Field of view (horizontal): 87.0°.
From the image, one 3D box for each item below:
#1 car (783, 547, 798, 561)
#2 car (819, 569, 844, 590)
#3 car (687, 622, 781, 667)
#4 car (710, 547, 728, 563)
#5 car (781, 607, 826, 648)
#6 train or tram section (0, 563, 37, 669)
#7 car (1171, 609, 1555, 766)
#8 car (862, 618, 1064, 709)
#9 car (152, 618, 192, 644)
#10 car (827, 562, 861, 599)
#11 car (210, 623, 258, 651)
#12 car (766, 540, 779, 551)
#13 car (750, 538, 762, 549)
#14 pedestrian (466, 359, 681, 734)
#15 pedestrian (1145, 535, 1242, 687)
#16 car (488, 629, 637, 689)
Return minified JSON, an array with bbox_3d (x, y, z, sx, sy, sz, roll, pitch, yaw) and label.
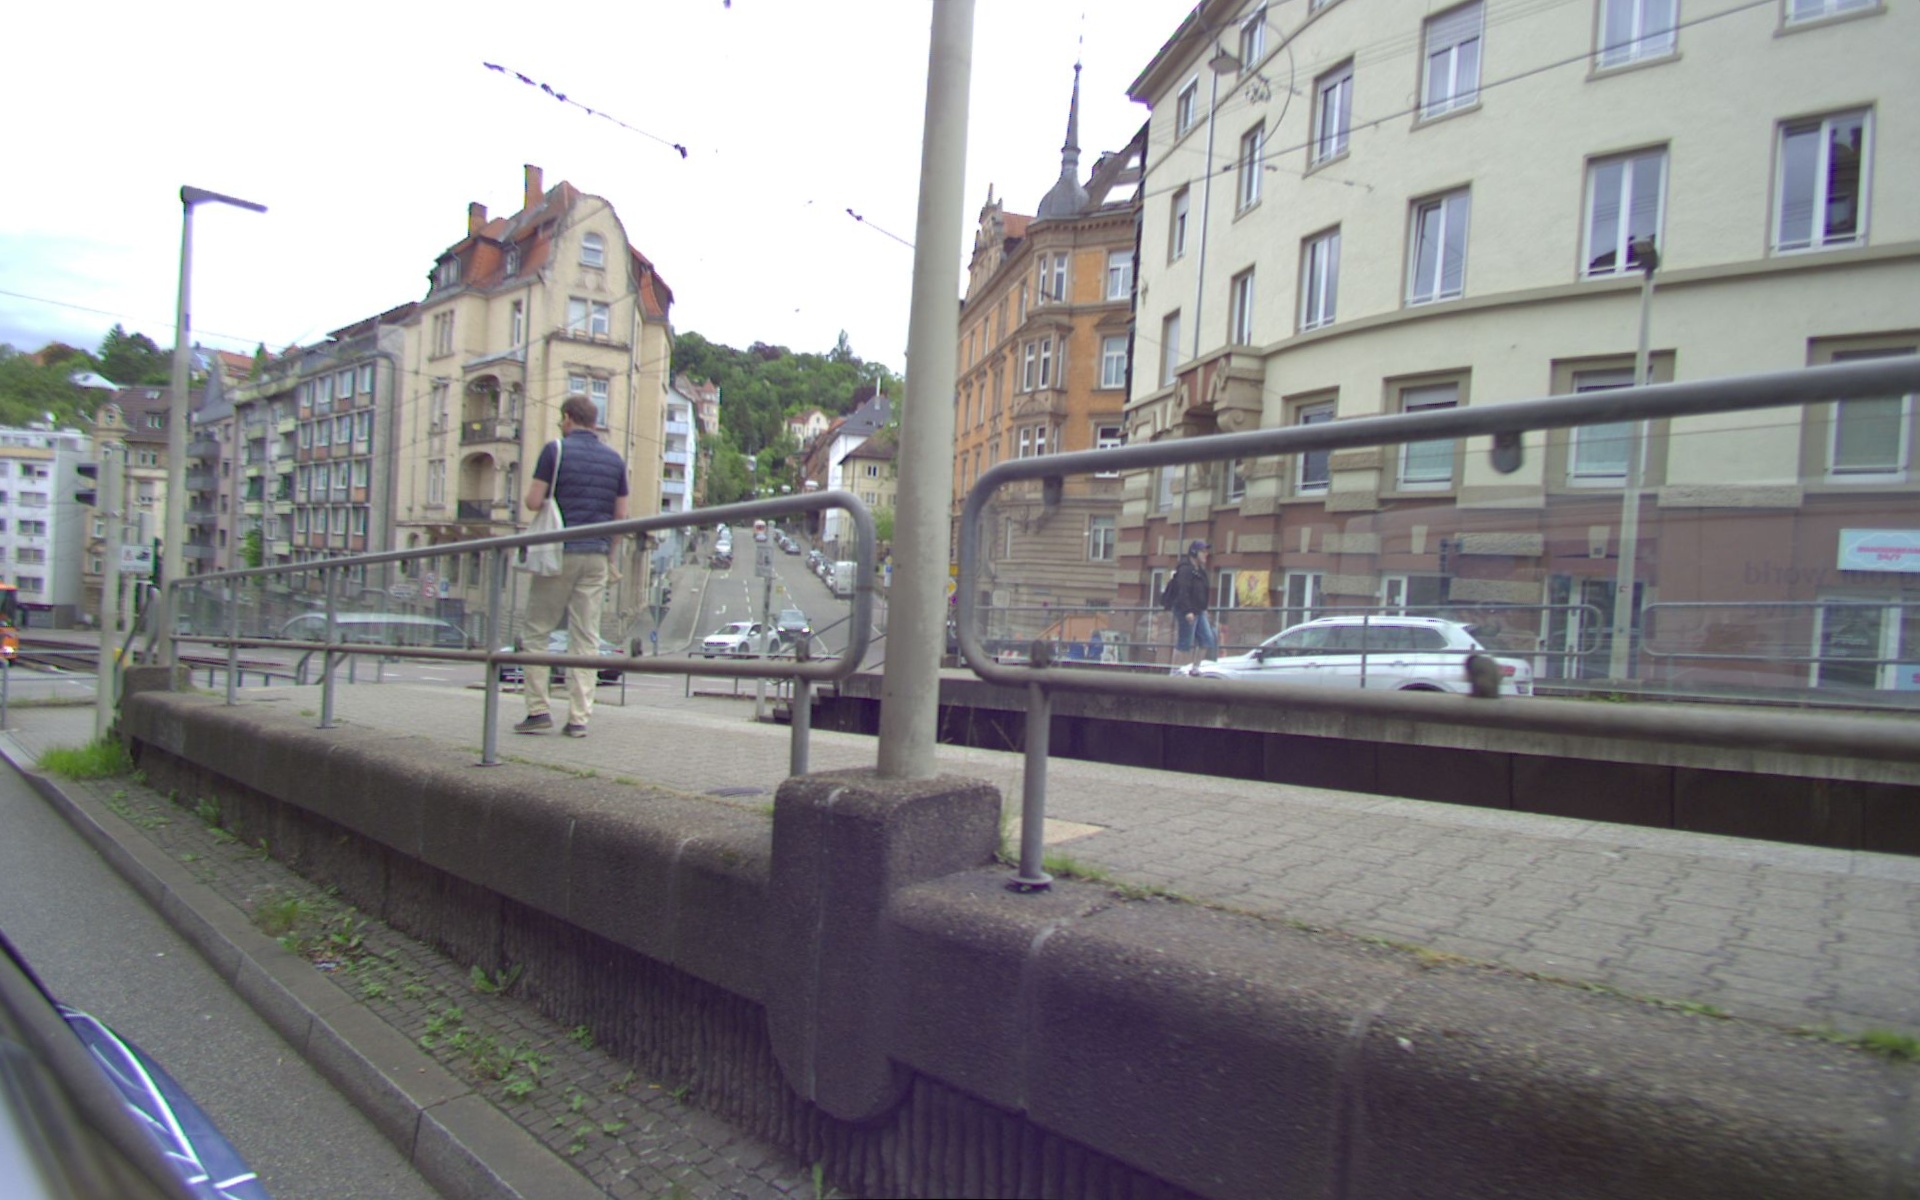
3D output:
[{"bbox_3d":[-20.820,-5.653,124.379,1.619,1.453,3.319,1,5,-14],"label":"car"},{"bbox_3d":[-10.495,-1.712,82.687,1.619,1.442,3.319,1,5,-14],"label":"car"},{"bbox_3d":[-9.198,1.799,41.541,1.984,1.723,3.974,-1,-2,19],"label":"car"},{"bbox_3d":[-27.540,-5.141,115.650,1.911,1.650,4.012,1,5,-14],"label":"car"},{"bbox_3d":[-8.140,1.392,52.353,1.967,1.687,4.012,1,4,-13],"label":"car"},{"bbox_3d":[-37.664,0.635,37.810,14.400,3.503,2.929,-1,-3,41],"label":"train or tram section"},{"bbox_3d":[5.196,1.036,13.426,4.379,1.747,1.826,-1,-2,42],"label":"car"},{"bbox_3d":[-0.023,1.277,21.656,1.824,1.747,4.384,2,-2,-43],"label":"car"},{"bbox_3d":[-62.406,2.422,80.133,4.050,1.989,1.826,-2,-2,43],"label":"car"},{"bbox_3d":[-8.769,-1.498,76.243,1.966,2.495,4.012,1,5,-14],"label":"car"},{"bbox_3d":[-48.087,2.425,66.971,4.382,1.796,1.825,-2,-2,44],"label":"car"},{"bbox_3d":[-28.177,-8.176,151.913,1.619,1.470,3.319,1,5,-14],"label":"car"},{"bbox_3d":[-30.612,-8.425,151.794,1.619,1.470,3.319,1,5,-14],"label":"car"},{"bbox_3d":[-1.981,-0.234,5.198,0.766,1.728,0.757,-2,-3,43],"label":"pedestrian"},{"bbox_3d":[2.733,0.135,11.868,0.843,1.701,0.757,-2,-3,43],"label":"pedestrian"},{"bbox_3d":[-10.585,1.495,26.814,4.378,1.457,1.826,-1,-2,41],"label":"car"}]
